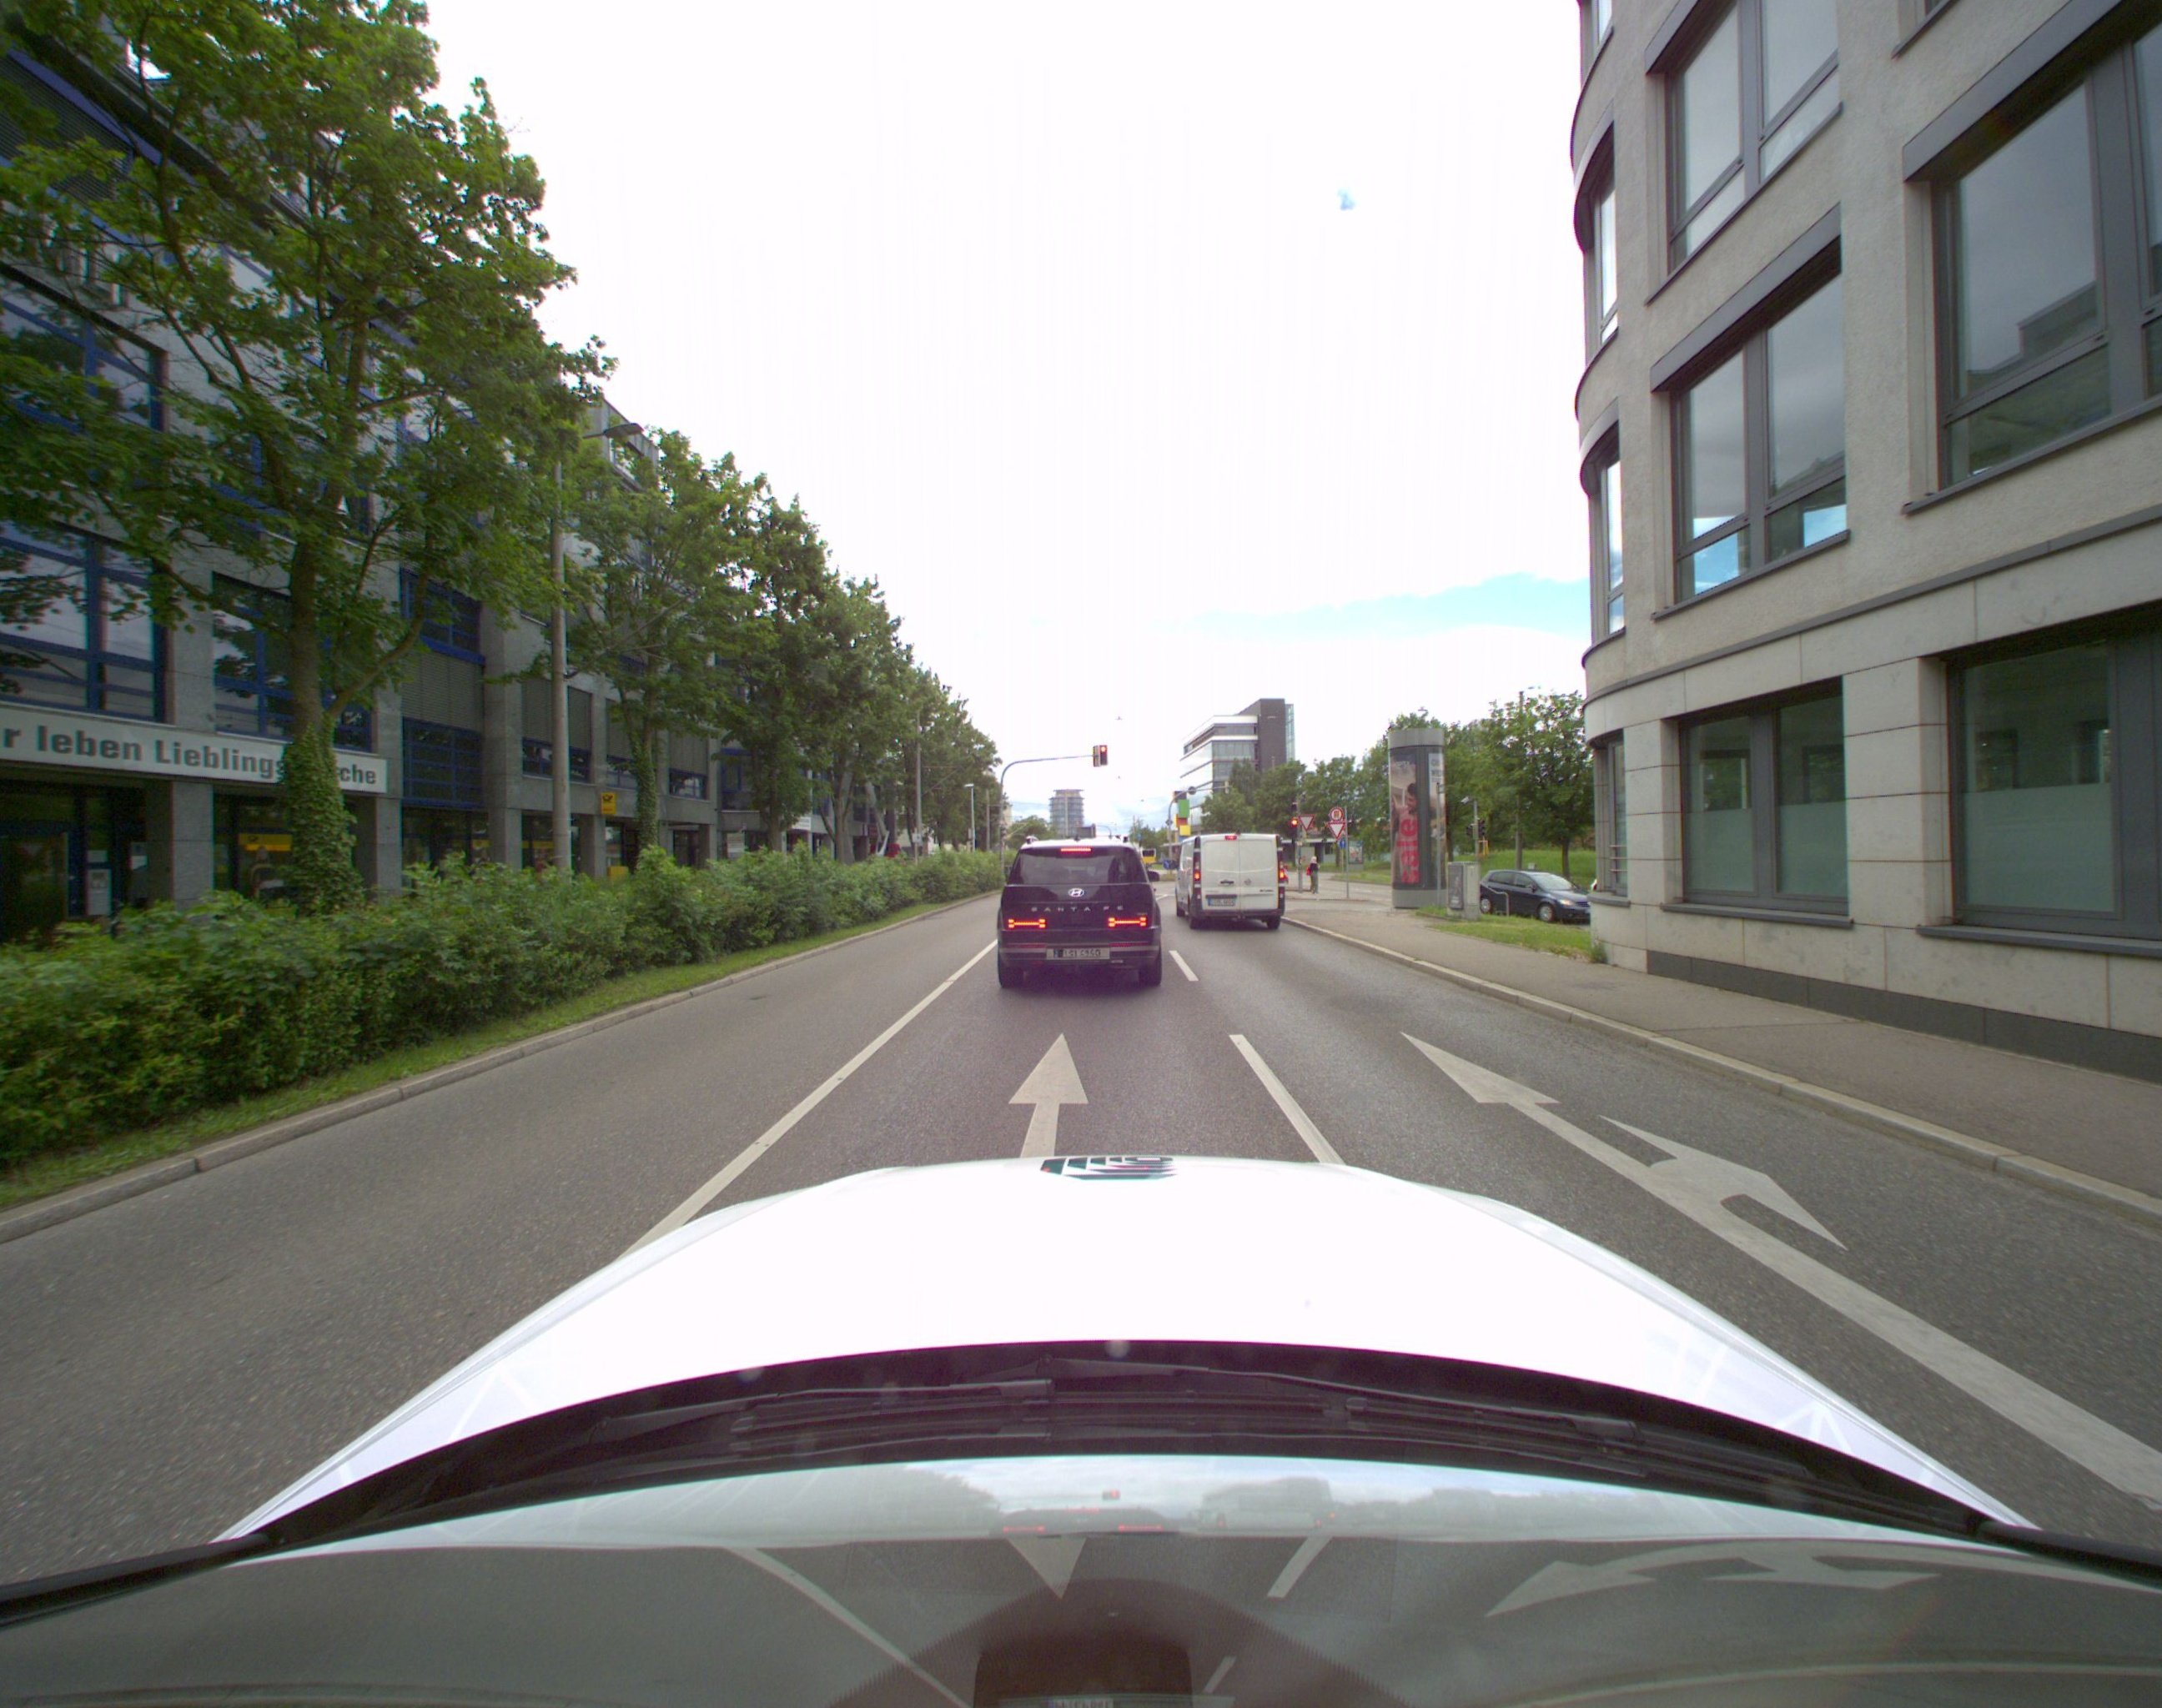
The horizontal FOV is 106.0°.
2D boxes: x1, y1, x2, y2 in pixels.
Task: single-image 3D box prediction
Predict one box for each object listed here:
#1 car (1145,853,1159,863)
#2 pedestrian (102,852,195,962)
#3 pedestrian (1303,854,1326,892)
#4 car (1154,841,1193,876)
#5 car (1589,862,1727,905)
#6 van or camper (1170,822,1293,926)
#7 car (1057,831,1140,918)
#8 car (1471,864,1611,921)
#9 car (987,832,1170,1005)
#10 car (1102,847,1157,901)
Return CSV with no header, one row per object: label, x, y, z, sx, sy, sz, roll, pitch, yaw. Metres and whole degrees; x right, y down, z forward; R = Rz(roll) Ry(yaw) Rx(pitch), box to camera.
car,12.231,0.663,140.205,1.988,1.684,3.998,-1,-1,-1
pedestrian,-16.507,0.913,14.434,0.771,1.894,0.731,-1,-1,1
pedestrian,10.012,0.808,34.911,0.744,1.584,0.567,1,0,-39
car,5.468,0.279,48.550,1.986,2.014,4.002,-1,-1,2
car,21.743,1.069,30.869,1.995,1.453,3.984,1,0,-12
van or camper,3.195,0.398,18.219,1.986,2.013,4.654,-1,0,1
car,0.465,0.479,21.058,1.908,2.003,3.880,-1,0,1
car,14.700,1.174,26.254,1.703,1.684,3.767,0,-1,-18
car,0.022,0.674,10.411,1.862,1.760,3.881,-1,0,1
car,1.677,0.665,28.539,1.768,1.717,4.342,-1,-1,3
